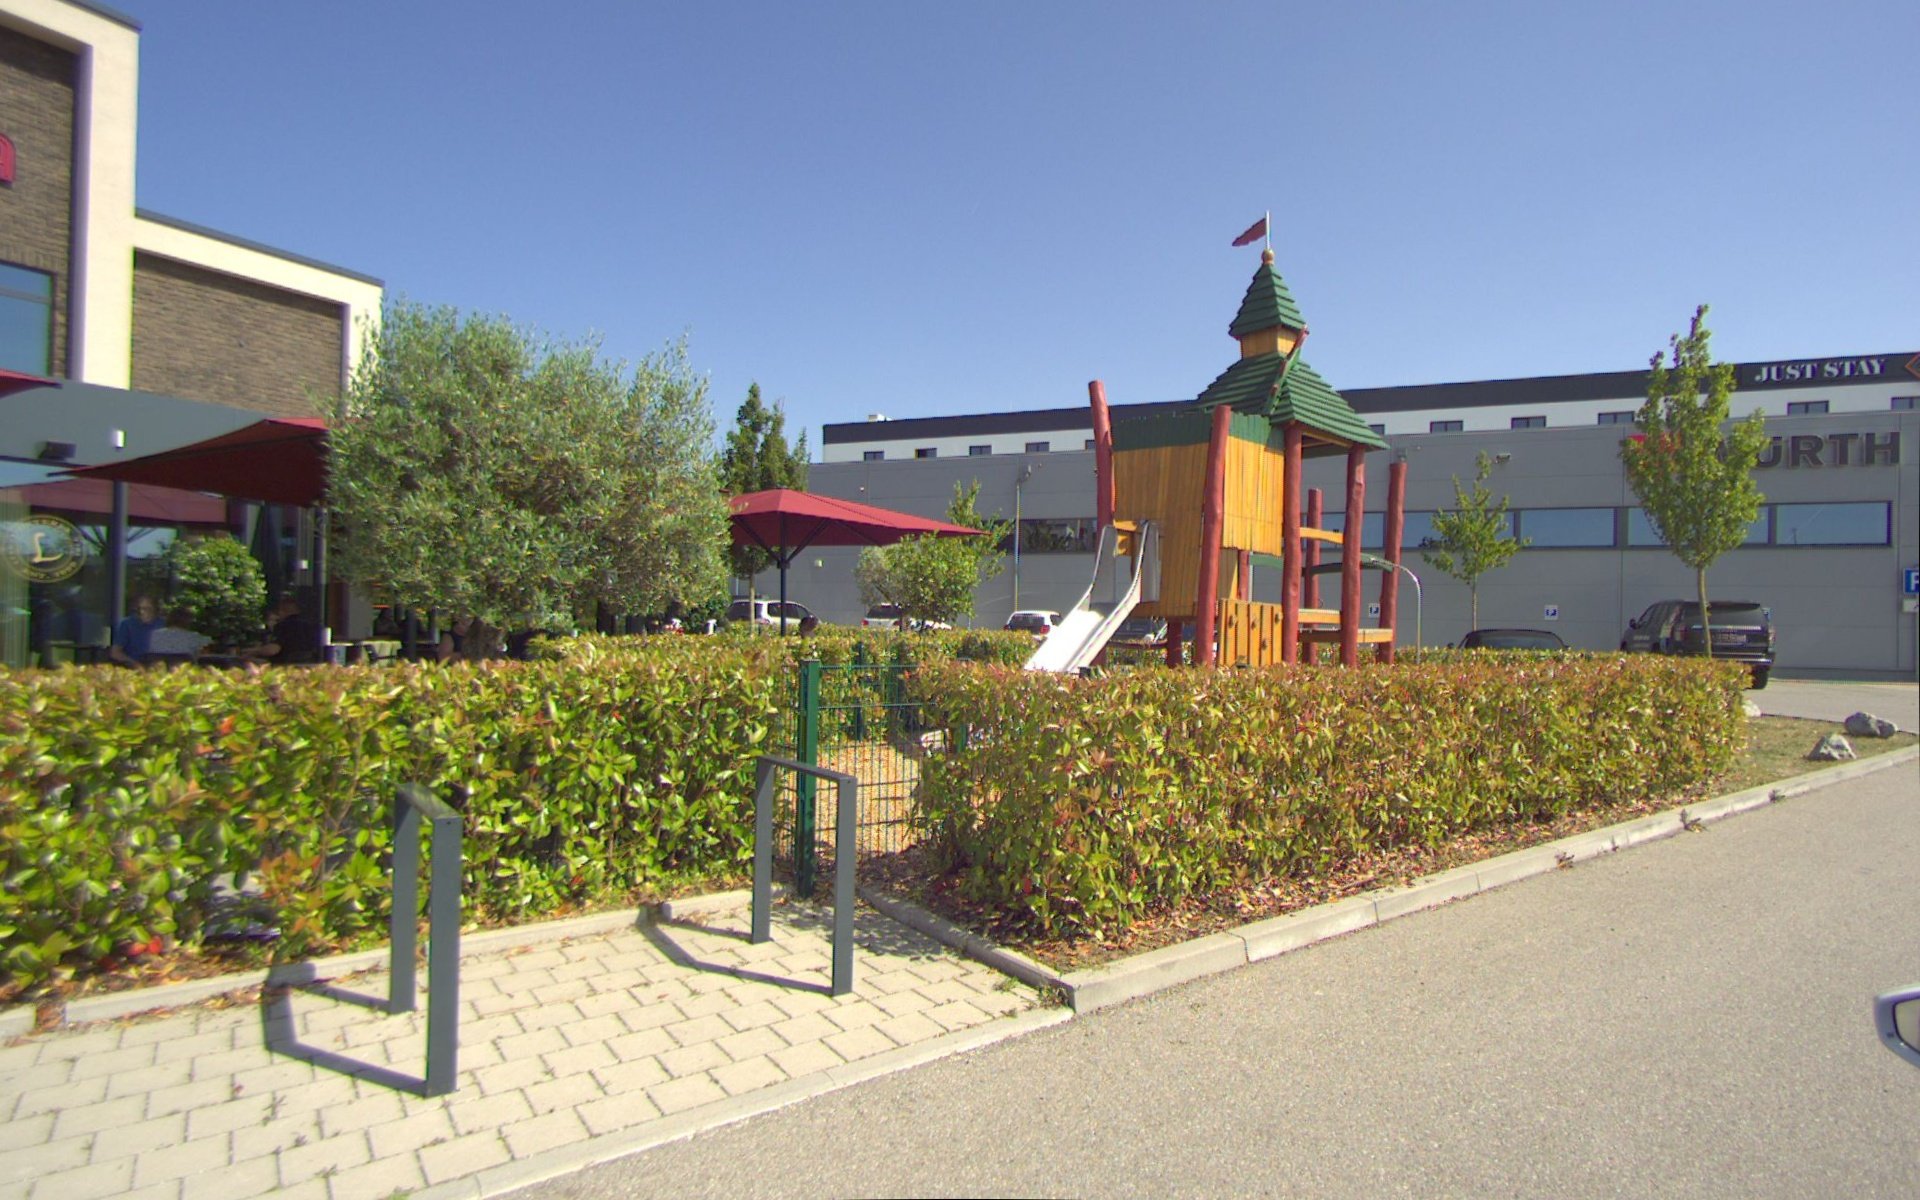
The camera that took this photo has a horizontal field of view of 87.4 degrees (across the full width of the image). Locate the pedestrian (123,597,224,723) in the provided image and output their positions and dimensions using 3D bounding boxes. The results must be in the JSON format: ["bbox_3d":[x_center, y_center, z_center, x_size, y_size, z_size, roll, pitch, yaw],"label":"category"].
[{"bbox_3d":[-7.906,0.581,10.128,0.607,1.214,0.706,0,0,-21],"label":"pedestrian"}]

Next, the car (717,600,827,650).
[{"bbox_3d":[-6.308,0.806,34.142,1.704,1.588,3.948,0,0,24],"label":"car"}]

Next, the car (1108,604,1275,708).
[{"bbox_3d":[4.169,0.870,17.537,1.917,1.551,4.372,0,0,26],"label":"car"}]

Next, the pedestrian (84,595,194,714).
[{"bbox_3d":[-8.694,0.556,10.647,0.697,1.214,0.667,0,0,25],"label":"pedestrian"}]

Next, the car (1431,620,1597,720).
[{"bbox_3d":[9.083,1.052,16.827,1.832,1.380,4.376,0,0,21],"label":"car"}]

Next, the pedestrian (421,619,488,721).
[{"bbox_3d":[-5.685,0.767,11.288,0.540,1.104,0.571,1,0,-41],"label":"pedestrian"}]

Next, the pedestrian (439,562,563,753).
[{"bbox_3d":[-4.342,0.515,9.521,0.772,1.710,0.761,0,0,31],"label":"pedestrian"}]

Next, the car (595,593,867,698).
[{"bbox_3d":[-3.226,0.619,14.813,1.621,1.326,3.829,0,-1,35],"label":"car"}]

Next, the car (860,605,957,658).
[{"bbox_3d":[-1.606,0.976,32.689,1.703,1.588,3.950,0,0,21],"label":"car"}]

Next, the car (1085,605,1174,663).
[{"bbox_3d":[5.130,0.959,29.993,1.848,1.607,4.108,0,0,21],"label":"car"}]

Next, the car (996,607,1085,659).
[{"bbox_3d":[2.581,0.991,31.325,1.703,1.507,3.950,0,0,21],"label":"car"}]

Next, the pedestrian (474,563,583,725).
[{"bbox_3d":[-4.576,0.446,10.678,0.772,1.636,0.760,0,0,33],"label":"pedestrian"}]

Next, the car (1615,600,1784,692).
[{"bbox_3d":[17.204,0.986,23.679,2.037,1.905,4.877,0,0,22],"label":"car"}]

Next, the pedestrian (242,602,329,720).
[{"bbox_3d":[-7.272,0.635,10.827,0.699,1.214,0.613,0,0,41],"label":"pedestrian"}]

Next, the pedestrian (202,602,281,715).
[{"bbox_3d":[-8.029,0.637,11.245,0.608,1.214,0.705,0,0,-27],"label":"pedestrian"}]
